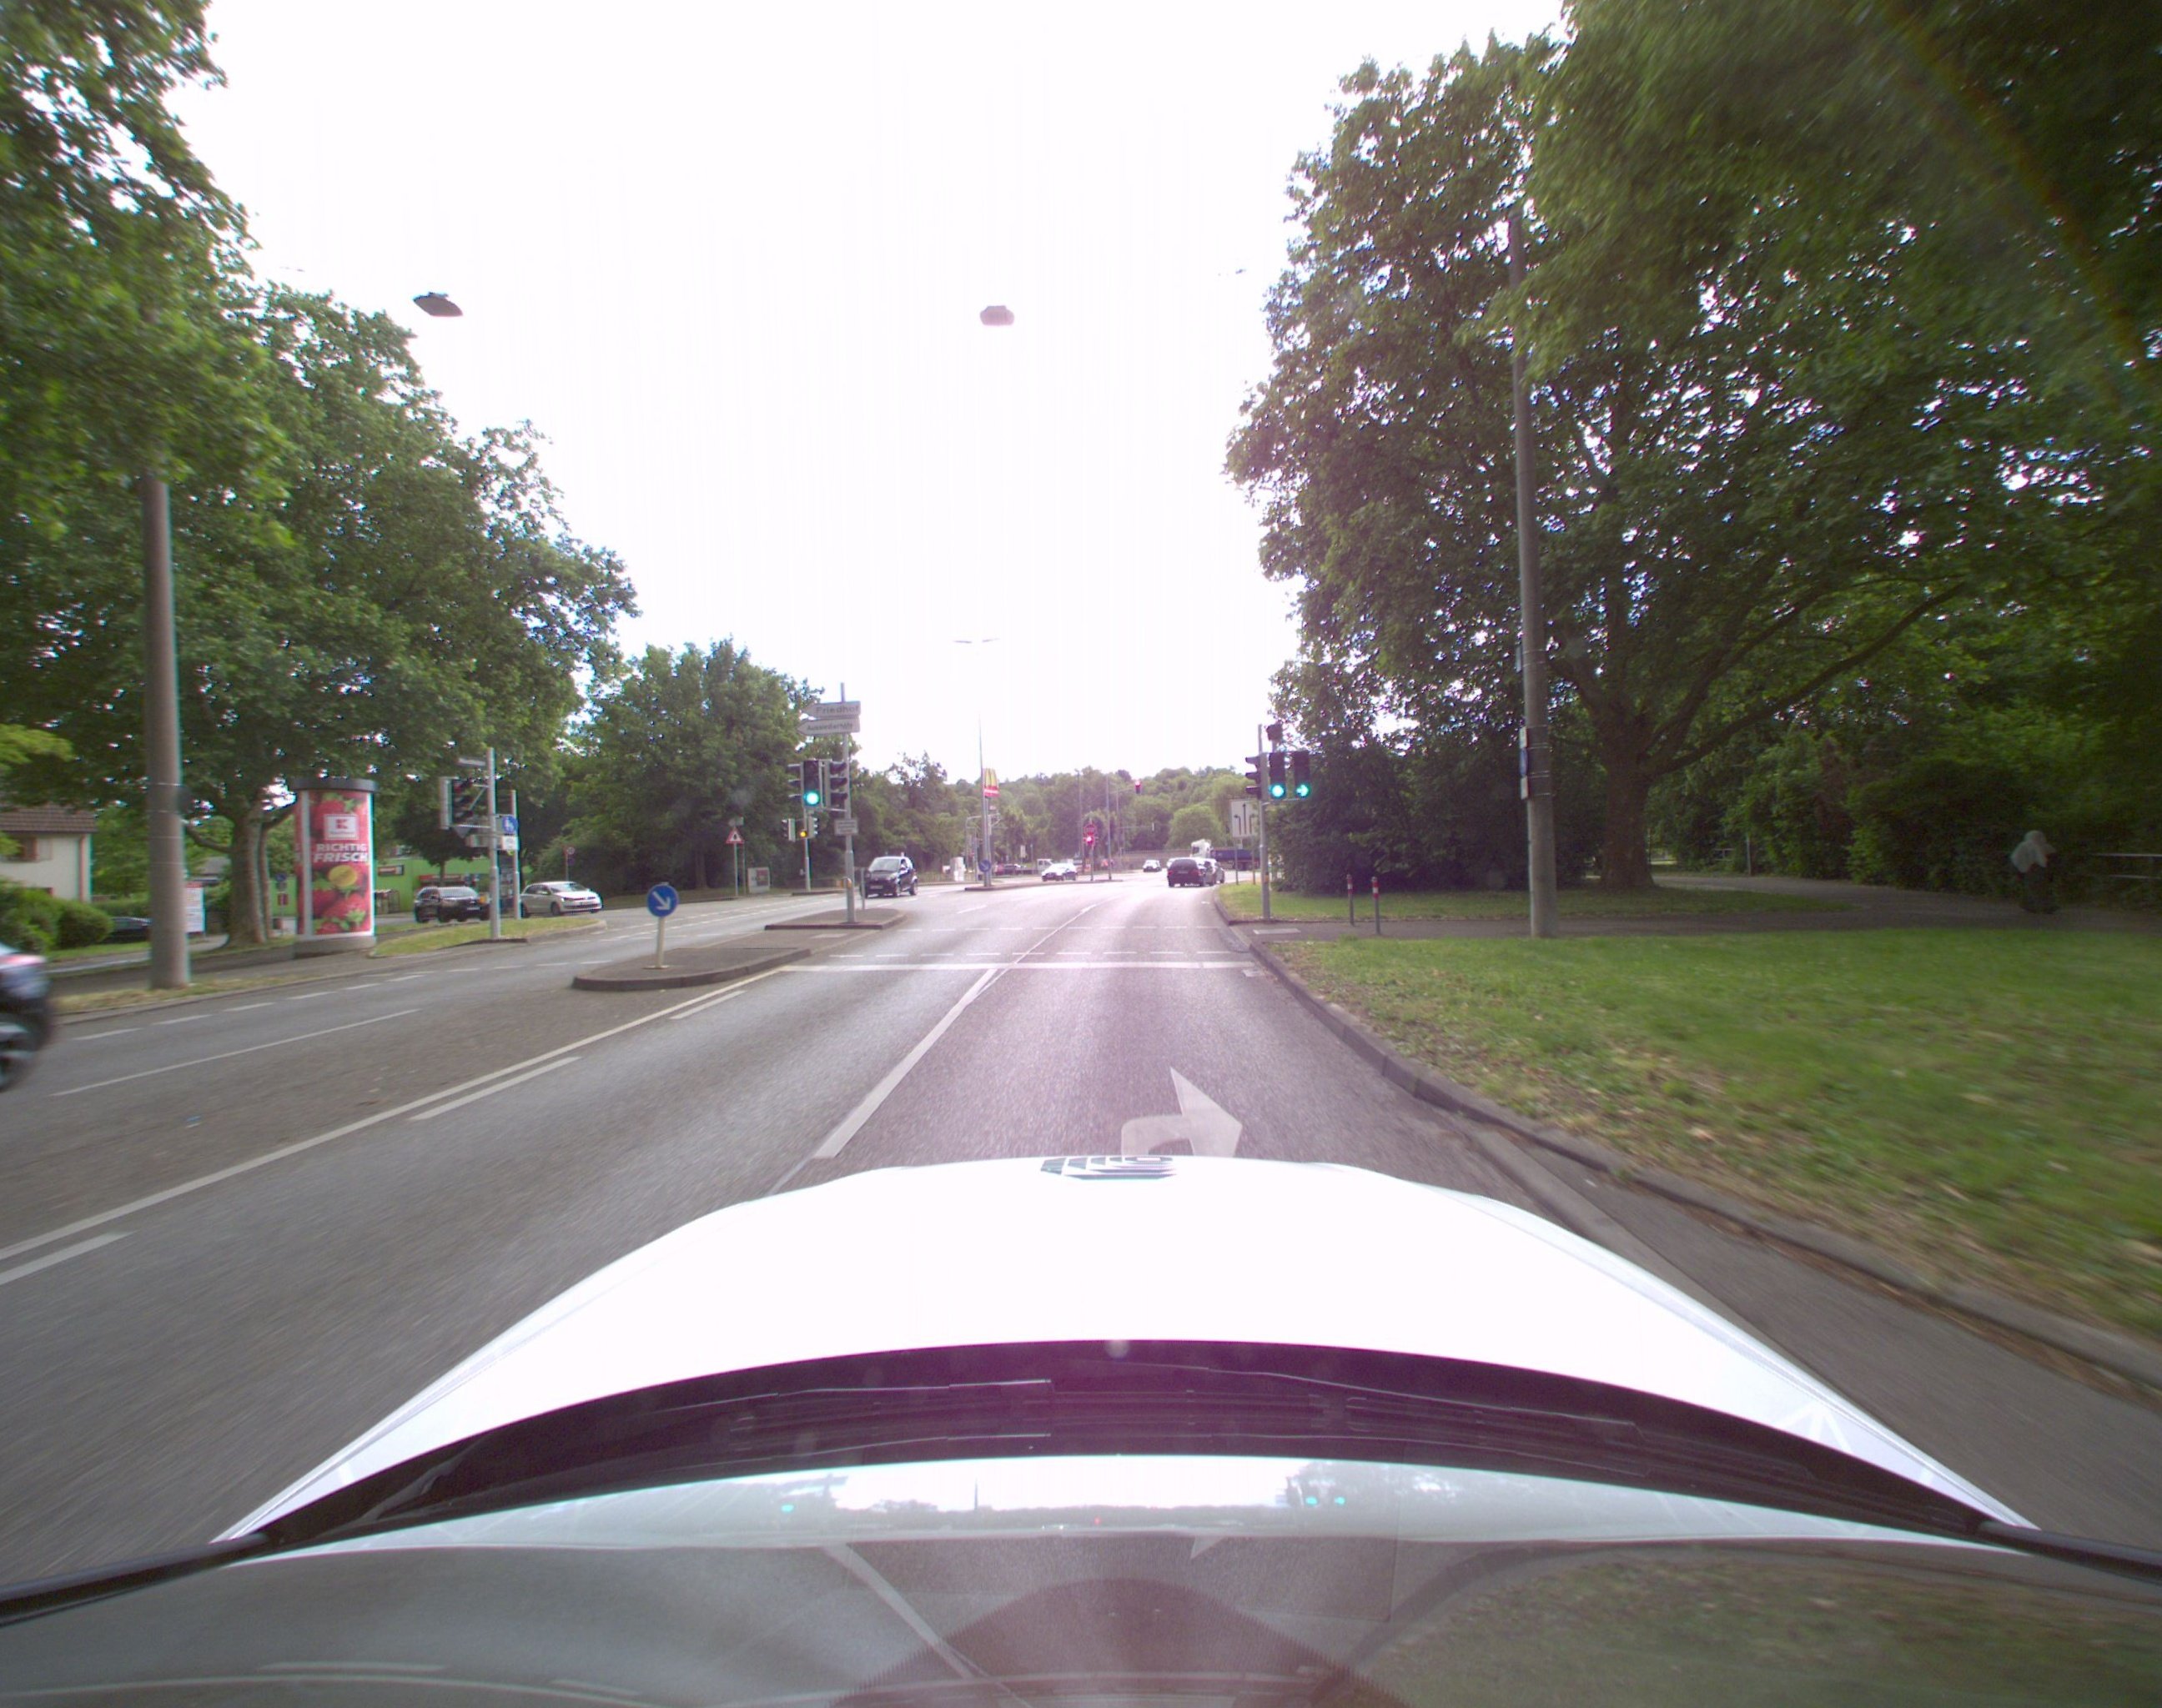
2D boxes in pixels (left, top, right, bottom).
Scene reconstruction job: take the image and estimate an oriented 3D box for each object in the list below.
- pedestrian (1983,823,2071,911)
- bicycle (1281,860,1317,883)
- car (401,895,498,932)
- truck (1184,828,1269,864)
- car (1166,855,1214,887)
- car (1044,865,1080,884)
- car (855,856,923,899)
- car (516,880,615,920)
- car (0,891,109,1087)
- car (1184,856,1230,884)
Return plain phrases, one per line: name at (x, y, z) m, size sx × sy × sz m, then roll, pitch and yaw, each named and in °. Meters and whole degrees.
pedestrian at (17.449, 0.240, 15.039) m, size 0.680 × 1.551 × 0.744 m, roll -2°, pitch -1°, yaw 7°
bicycle at (11.321, 0.911, 42.304) m, size 1.764 × 1.111 × 0.457 m, roll -2°, pitch -2°, yaw 19°
car at (-30.229, 2.847, 38.982) m, size 4.216 × 1.546 × 2.012 m, roll -3°, pitch -1°, yaw 27°
truck at (16.829, -0.871, 94.492) m, size 9.015 × 3.588 × 3.238 m, roll -4°, pitch -2°, yaw 26°
car at (5.639, 0.843, 41.844) m, size 1.809 × 1.509 × 4.592 m, roll -2°, pitch -1°, yaw 15°
car at (-1.435, 1.570, 63.895) m, size 1.665 × 1.366 × 4.328 m, roll -2°, pitch -1°, yaw 14°
car at (-7.482, 0.875, 31.971) m, size 1.560 × 1.527 × 3.194 m, roll -2°, pitch 0°, yaw 6°
car at (-21.305, 1.885, 33.633) m, size 3.805 × 1.479 × 1.837 m, roll -3°, pitch -1°, yaw 30°
car at (-8.638, 1.055, 4.549) m, size 1.563 × 1.382 × 3.950 m, roll -4°, pitch 0°, yaw 1°
car at (7.601, 0.938, 48.733) m, size 1.711 × 1.530 × 4.171 m, roll -3°, pitch -1°, yaw 23°
